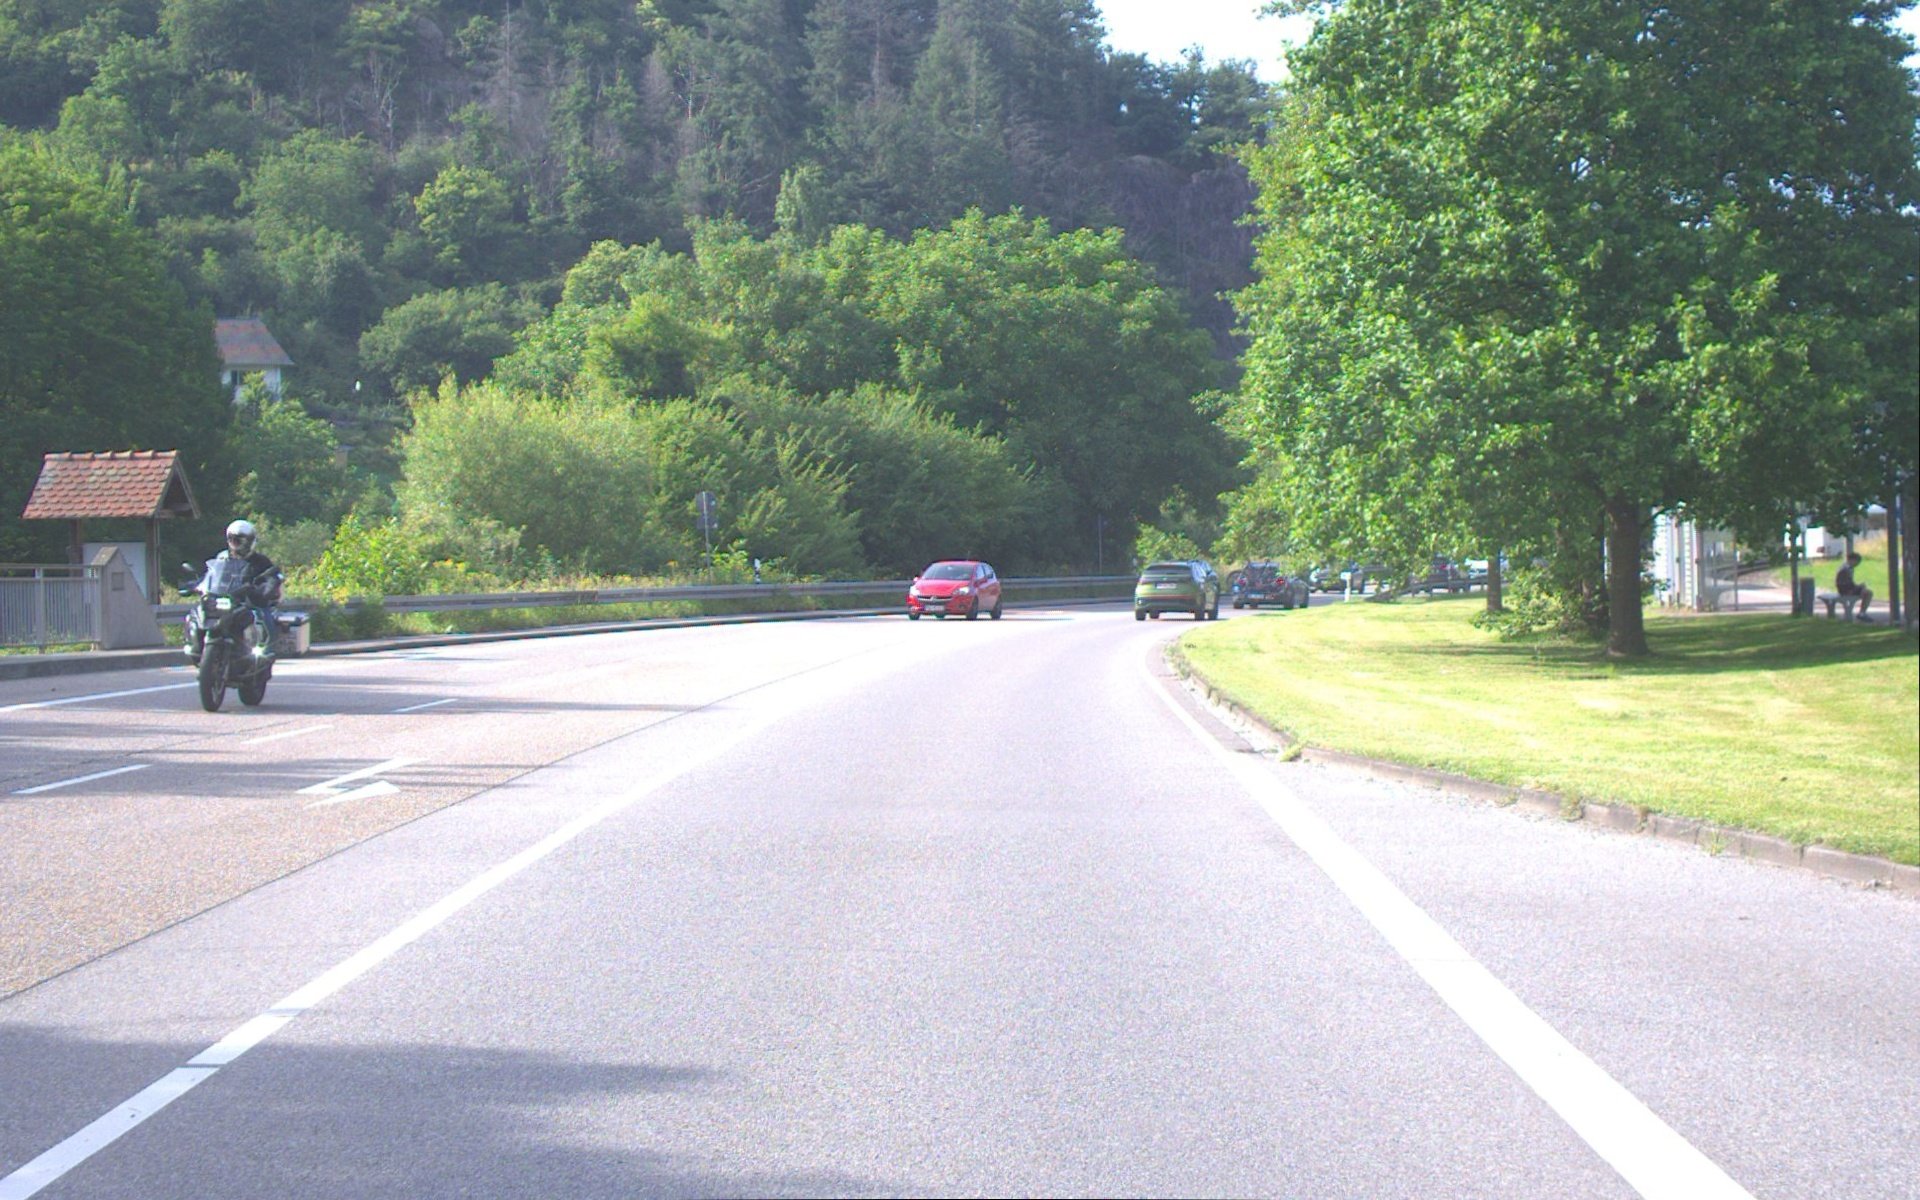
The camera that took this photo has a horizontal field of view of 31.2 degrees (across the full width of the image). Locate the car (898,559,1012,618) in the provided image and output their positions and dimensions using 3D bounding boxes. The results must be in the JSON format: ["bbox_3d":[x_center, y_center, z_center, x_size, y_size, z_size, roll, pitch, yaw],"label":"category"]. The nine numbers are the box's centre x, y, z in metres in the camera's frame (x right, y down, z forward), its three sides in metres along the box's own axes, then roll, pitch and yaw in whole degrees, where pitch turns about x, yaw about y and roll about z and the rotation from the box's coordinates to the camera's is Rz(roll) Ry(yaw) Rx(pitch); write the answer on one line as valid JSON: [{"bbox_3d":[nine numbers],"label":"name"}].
[{"bbox_3d":[-0.096,-0.309,87.141,1.677,1.455,4.198,0,1,18],"label":"car"}]

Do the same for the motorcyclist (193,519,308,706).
[{"bbox_3d":[-6.866,0.112,33.306,0.844,1.778,1.171,0,1,1],"label":"motorcyclist"}]

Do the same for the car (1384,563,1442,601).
[{"bbox_3d":[18.617,-0.746,141.183,1.808,1.448,3.644,-2,1,16],"label":"car"}]

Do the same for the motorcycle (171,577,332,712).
[{"bbox_3d":[-6.831,0.407,33.286,0.972,1.217,2.572,0,1,1],"label":"motorcycle"}]

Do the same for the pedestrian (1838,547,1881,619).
[{"bbox_3d":[14.888,-0.288,56.900,0.635,1.157,0.726,-2,0,14],"label":"pedestrian"}]

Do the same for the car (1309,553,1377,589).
[{"bbox_3d":[15.553,-1.185,139.463,1.695,1.397,4.197,0,1,21],"label":"car"}]

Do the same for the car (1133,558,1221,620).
[{"bbox_3d":[5.518,-0.283,87.001,1.729,1.452,3.409,-3,1,11],"label":"car"}]

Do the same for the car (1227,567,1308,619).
[{"bbox_3d":[9.471,-0.238,105.608,1.841,1.454,3.711,-2,1,14],"label":"car"}]
